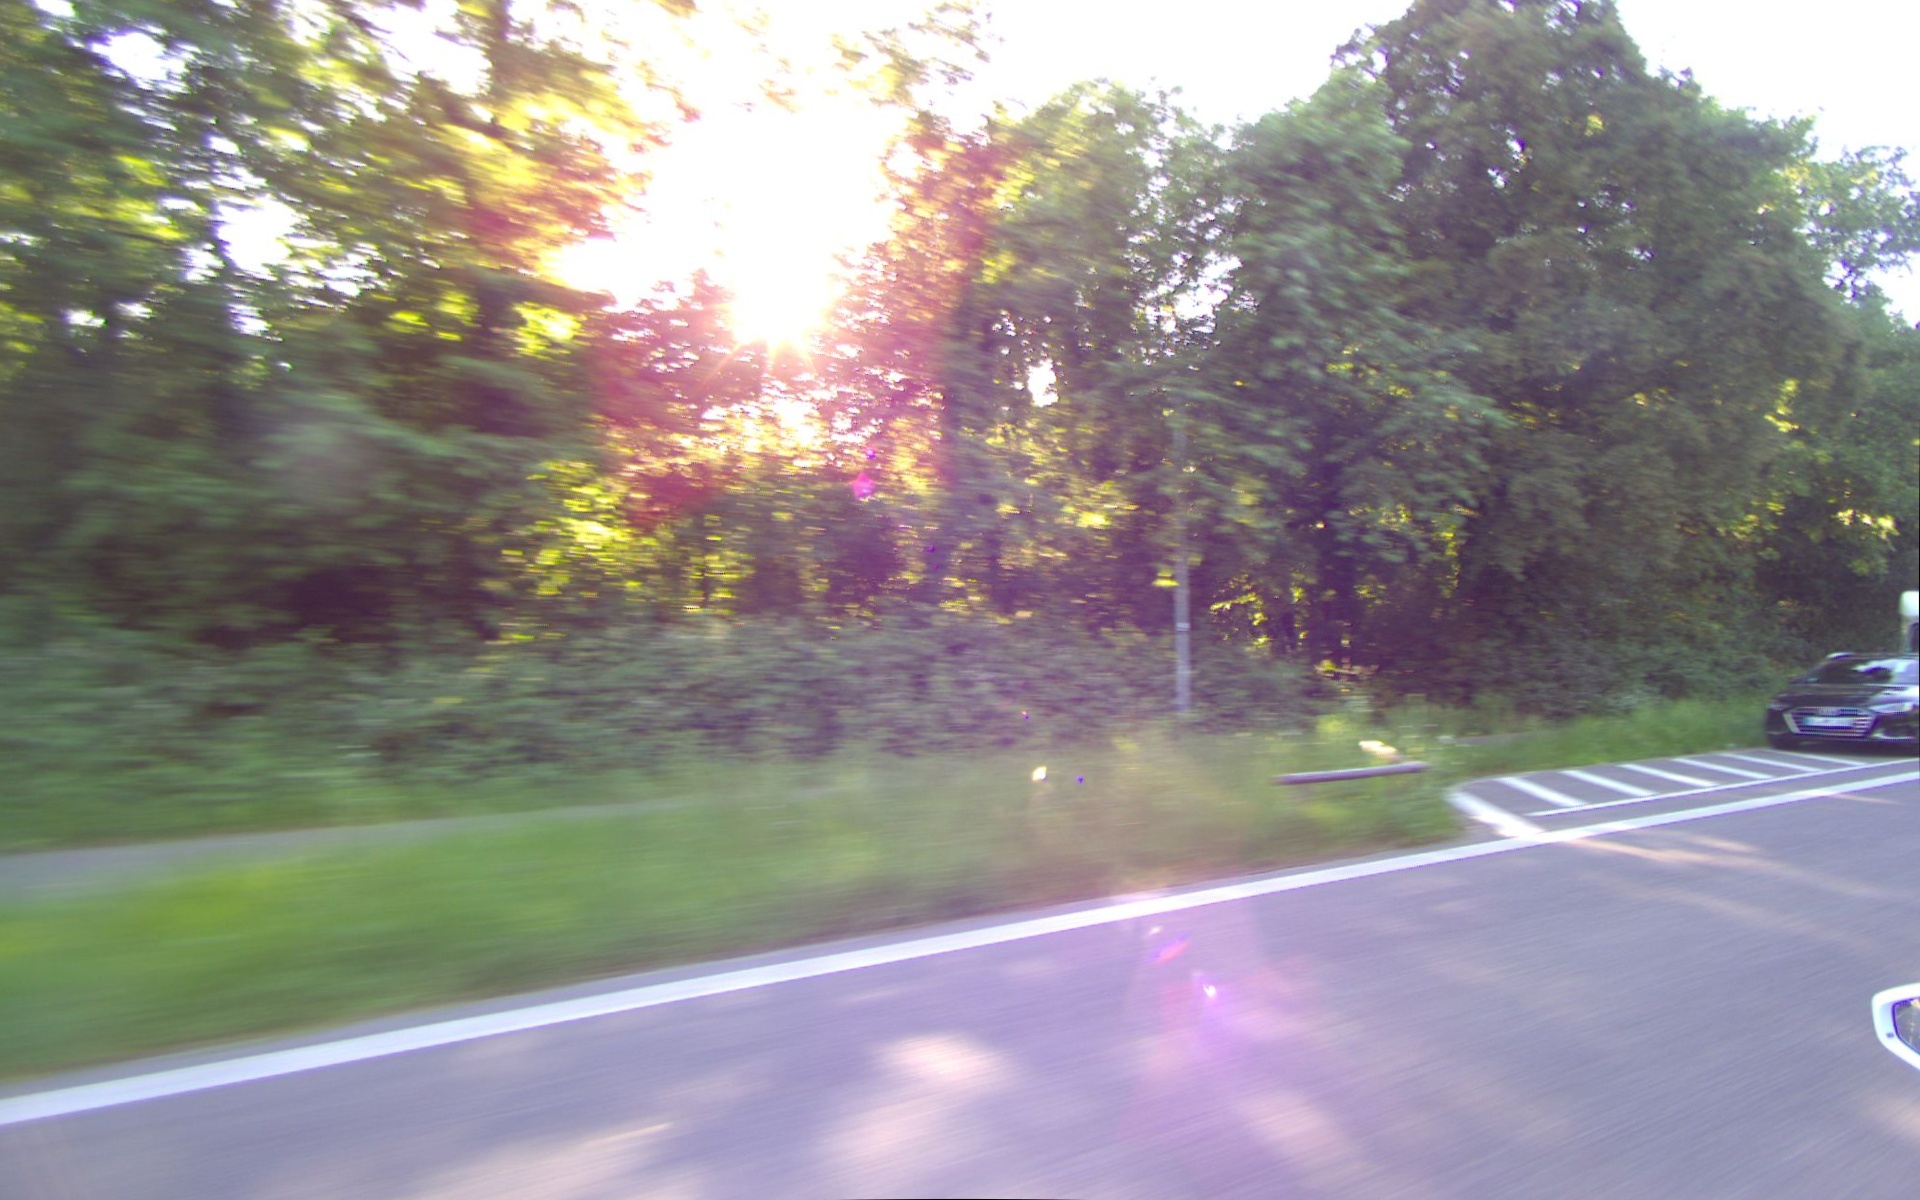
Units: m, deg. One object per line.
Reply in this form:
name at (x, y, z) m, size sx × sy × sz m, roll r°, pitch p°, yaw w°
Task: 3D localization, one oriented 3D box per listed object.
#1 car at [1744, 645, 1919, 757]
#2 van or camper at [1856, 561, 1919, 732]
car at (14.093, 1.444, 15.446) m, size 4.632 × 1.495 × 1.817 m, roll 2°, pitch -3°, yaw -34°
van or camper at (20.013, 0.873, 19.300) m, size 7.034 × 3.008 × 2.302 m, roll 2°, pitch -4°, yaw -33°
